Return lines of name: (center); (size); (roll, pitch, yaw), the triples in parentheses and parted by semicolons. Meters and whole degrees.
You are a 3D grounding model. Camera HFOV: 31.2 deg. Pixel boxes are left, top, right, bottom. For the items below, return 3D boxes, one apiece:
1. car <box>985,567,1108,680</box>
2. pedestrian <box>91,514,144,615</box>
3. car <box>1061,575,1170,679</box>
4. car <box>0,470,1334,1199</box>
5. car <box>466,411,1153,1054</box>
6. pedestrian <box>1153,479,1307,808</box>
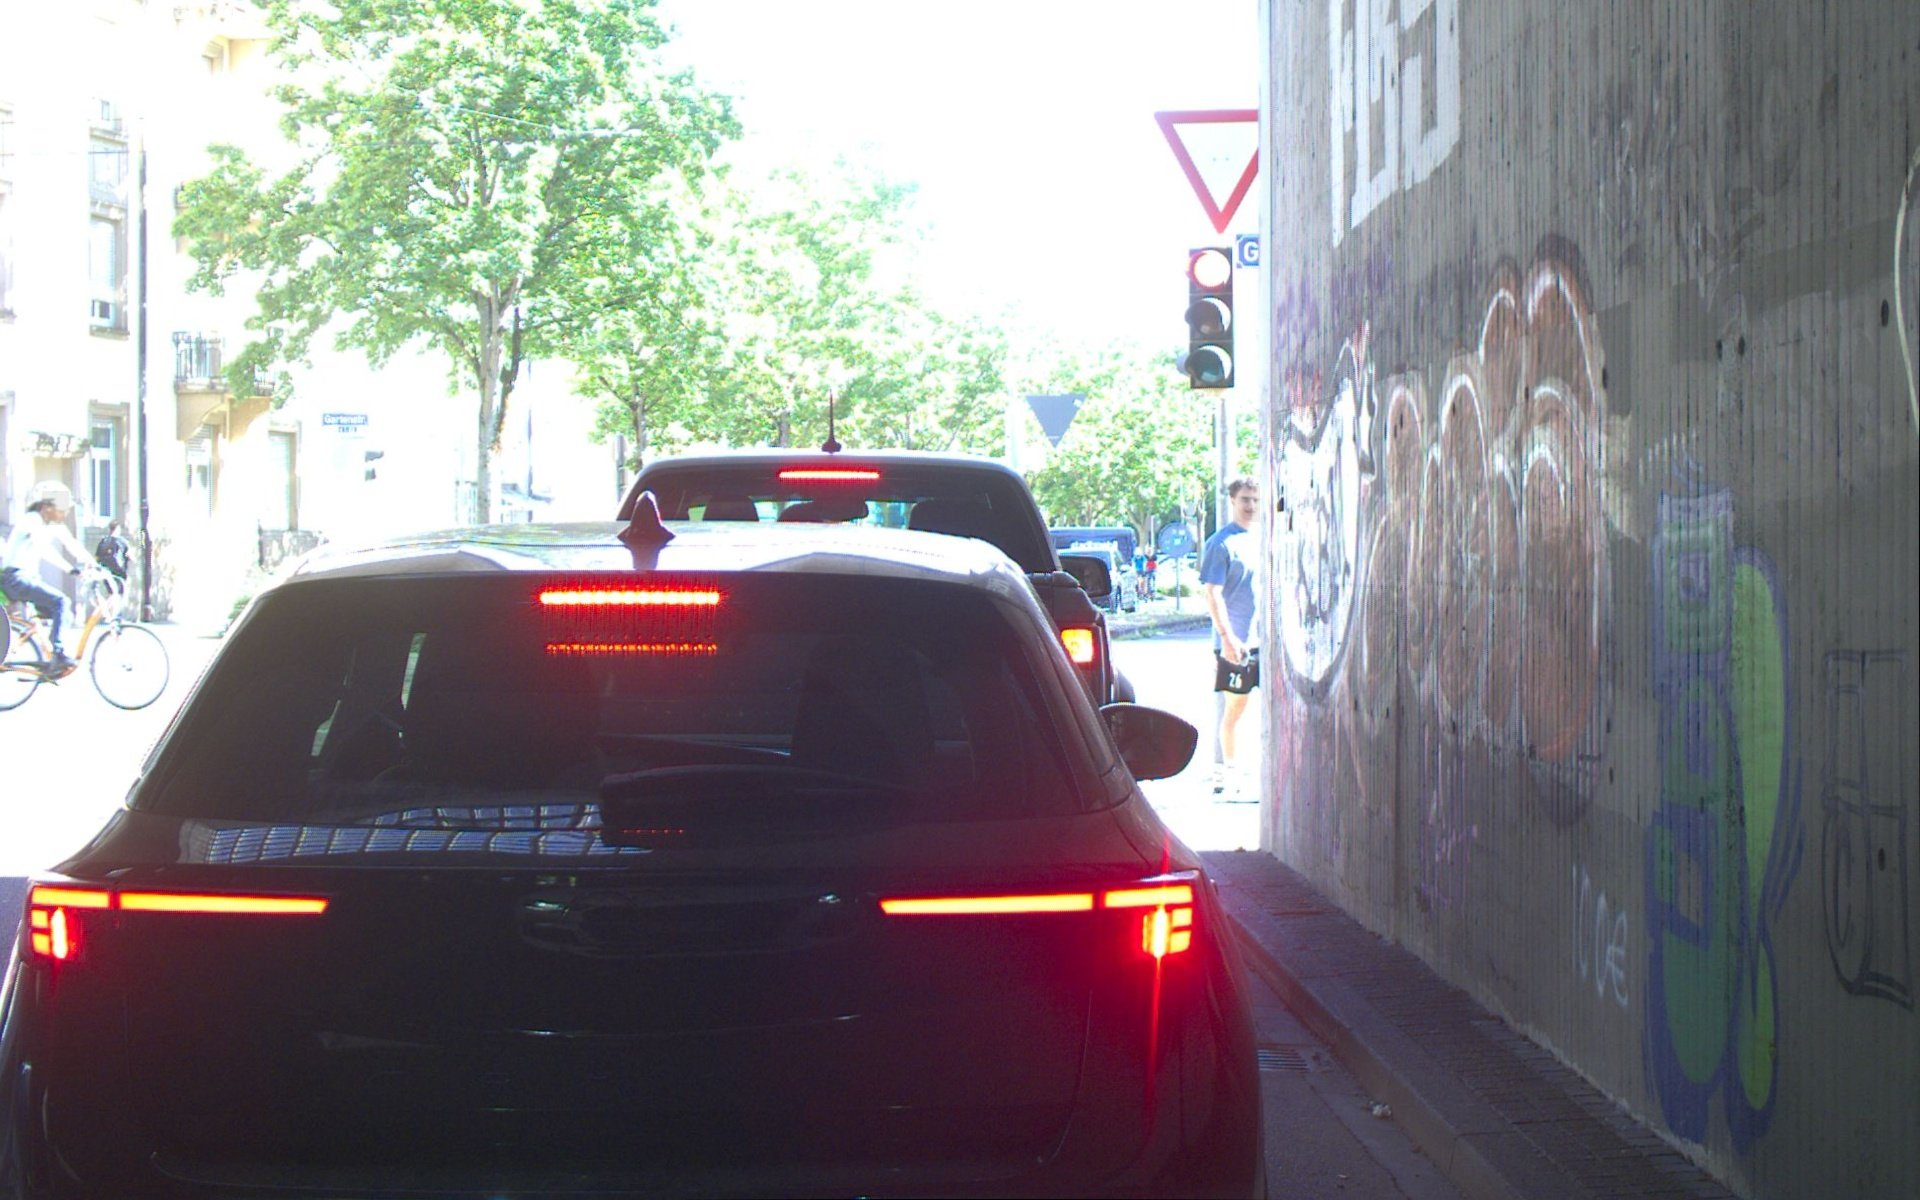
car: (1.603, 0.393, 62.352); (1.994, 1.963, 4.163); (1, 1, 5)
pedestrian: (-13.766, -0.579, 56.178); (0.672, 1.632, 0.740); (1, 0, -1)
car: (3.119, 0.505, 68.322); (1.994, 1.963, 4.163); (1, 1, 5)
car: (-0.474, 0.567, 6.077); (1.764, 1.566, 4.001); (1, 2, -1)
car: (-0.459, 0.349, 12.053); (1.993, 1.865, 4.000); (0, 1, -1)
pedestrian: (1.451, 0.224, 18.602); (0.731, 1.728, 0.874); (1, 0, -1)
